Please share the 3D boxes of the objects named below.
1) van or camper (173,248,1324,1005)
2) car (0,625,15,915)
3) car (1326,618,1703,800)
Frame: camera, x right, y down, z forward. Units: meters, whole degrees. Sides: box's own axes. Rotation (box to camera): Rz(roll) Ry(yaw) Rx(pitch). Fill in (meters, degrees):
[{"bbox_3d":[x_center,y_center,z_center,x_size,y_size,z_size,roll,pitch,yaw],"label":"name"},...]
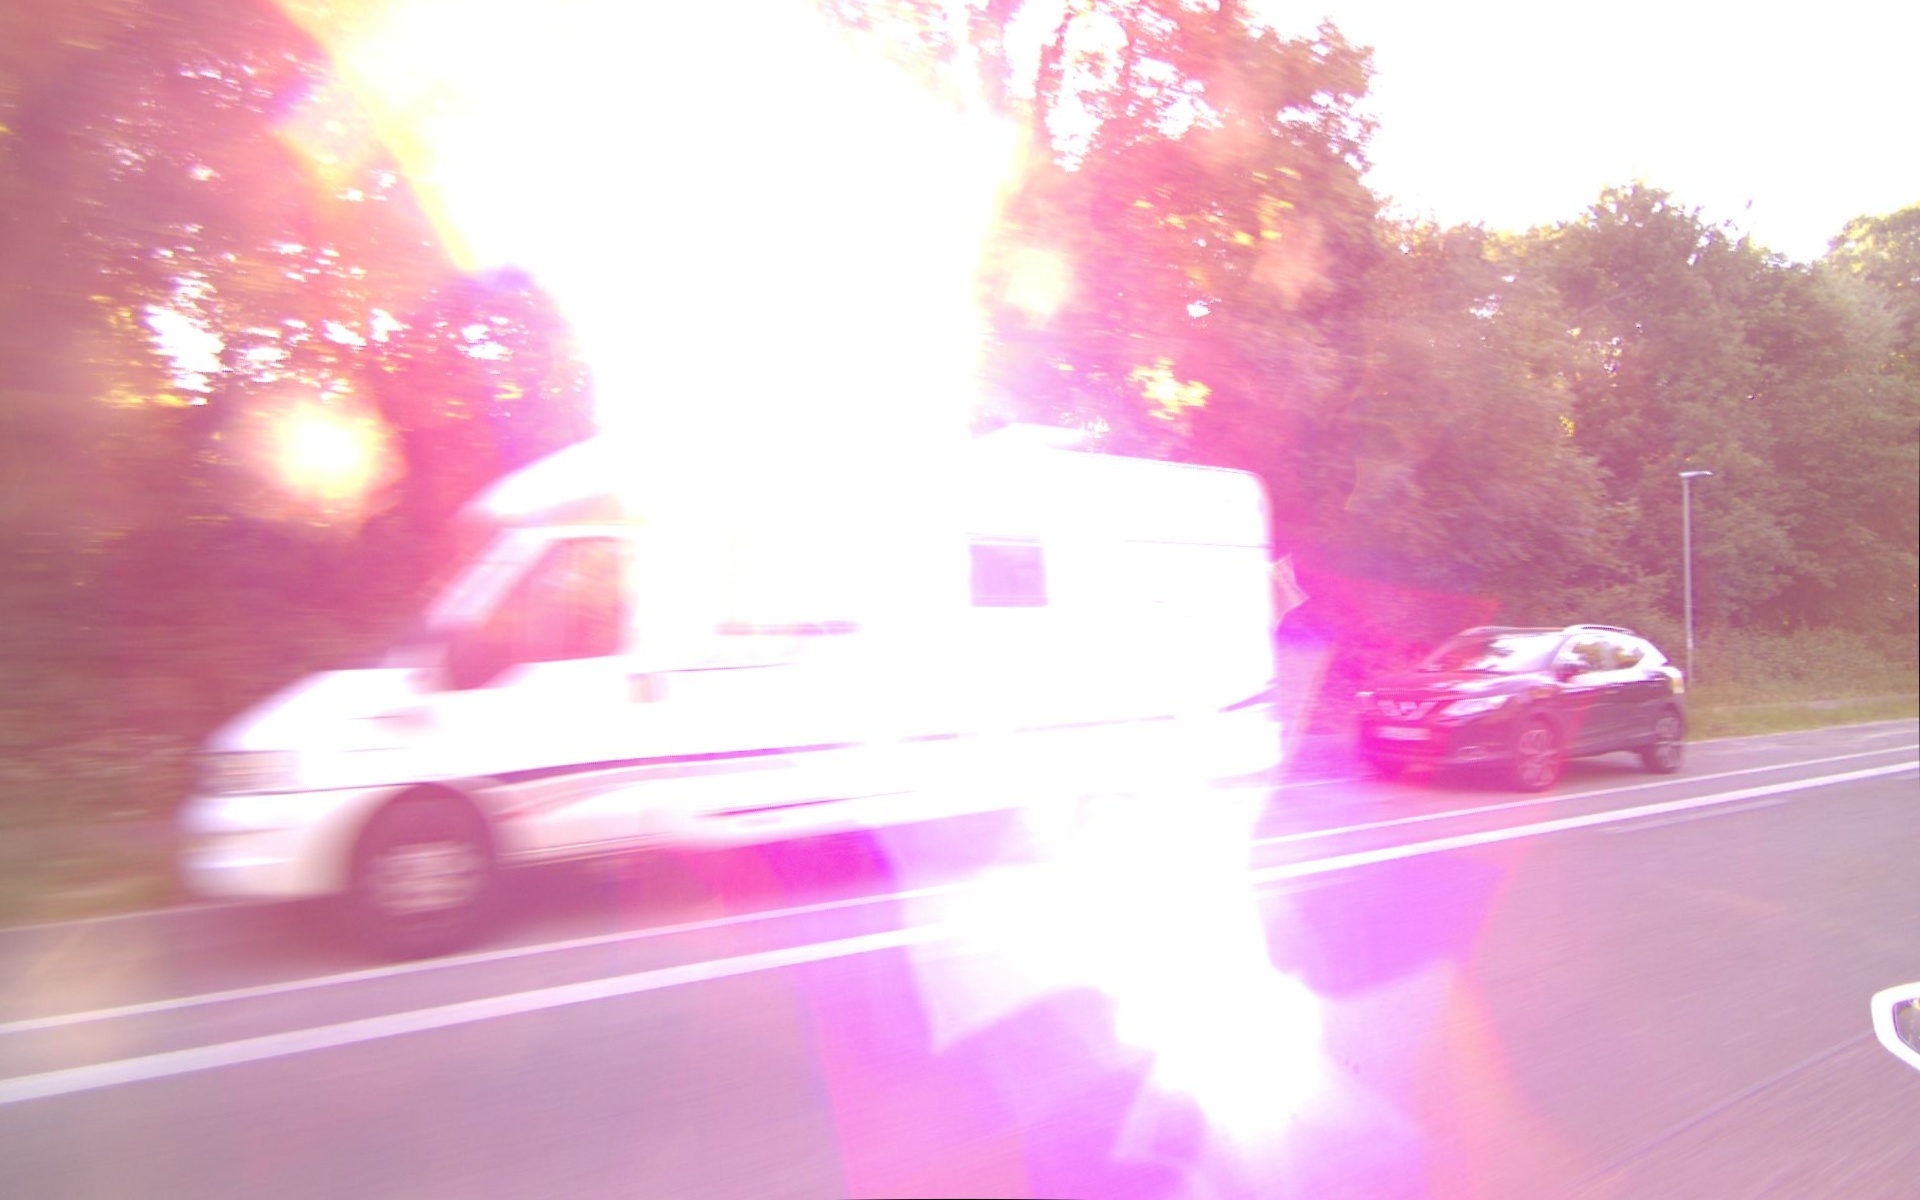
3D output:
[{"bbox_3d":[-0.752,0.207,6.886,7.034,3.008,2.302,1,-3,-33],"label":"van or camper"},{"bbox_3d":[-6.478,0.809,3.287,4.632,1.495,1.817,1,-2,-34],"label":"car"},{"bbox_3d":[6.086,1.063,10.911,4.223,1.653,1.638,1,-3,-30],"label":"car"}]
